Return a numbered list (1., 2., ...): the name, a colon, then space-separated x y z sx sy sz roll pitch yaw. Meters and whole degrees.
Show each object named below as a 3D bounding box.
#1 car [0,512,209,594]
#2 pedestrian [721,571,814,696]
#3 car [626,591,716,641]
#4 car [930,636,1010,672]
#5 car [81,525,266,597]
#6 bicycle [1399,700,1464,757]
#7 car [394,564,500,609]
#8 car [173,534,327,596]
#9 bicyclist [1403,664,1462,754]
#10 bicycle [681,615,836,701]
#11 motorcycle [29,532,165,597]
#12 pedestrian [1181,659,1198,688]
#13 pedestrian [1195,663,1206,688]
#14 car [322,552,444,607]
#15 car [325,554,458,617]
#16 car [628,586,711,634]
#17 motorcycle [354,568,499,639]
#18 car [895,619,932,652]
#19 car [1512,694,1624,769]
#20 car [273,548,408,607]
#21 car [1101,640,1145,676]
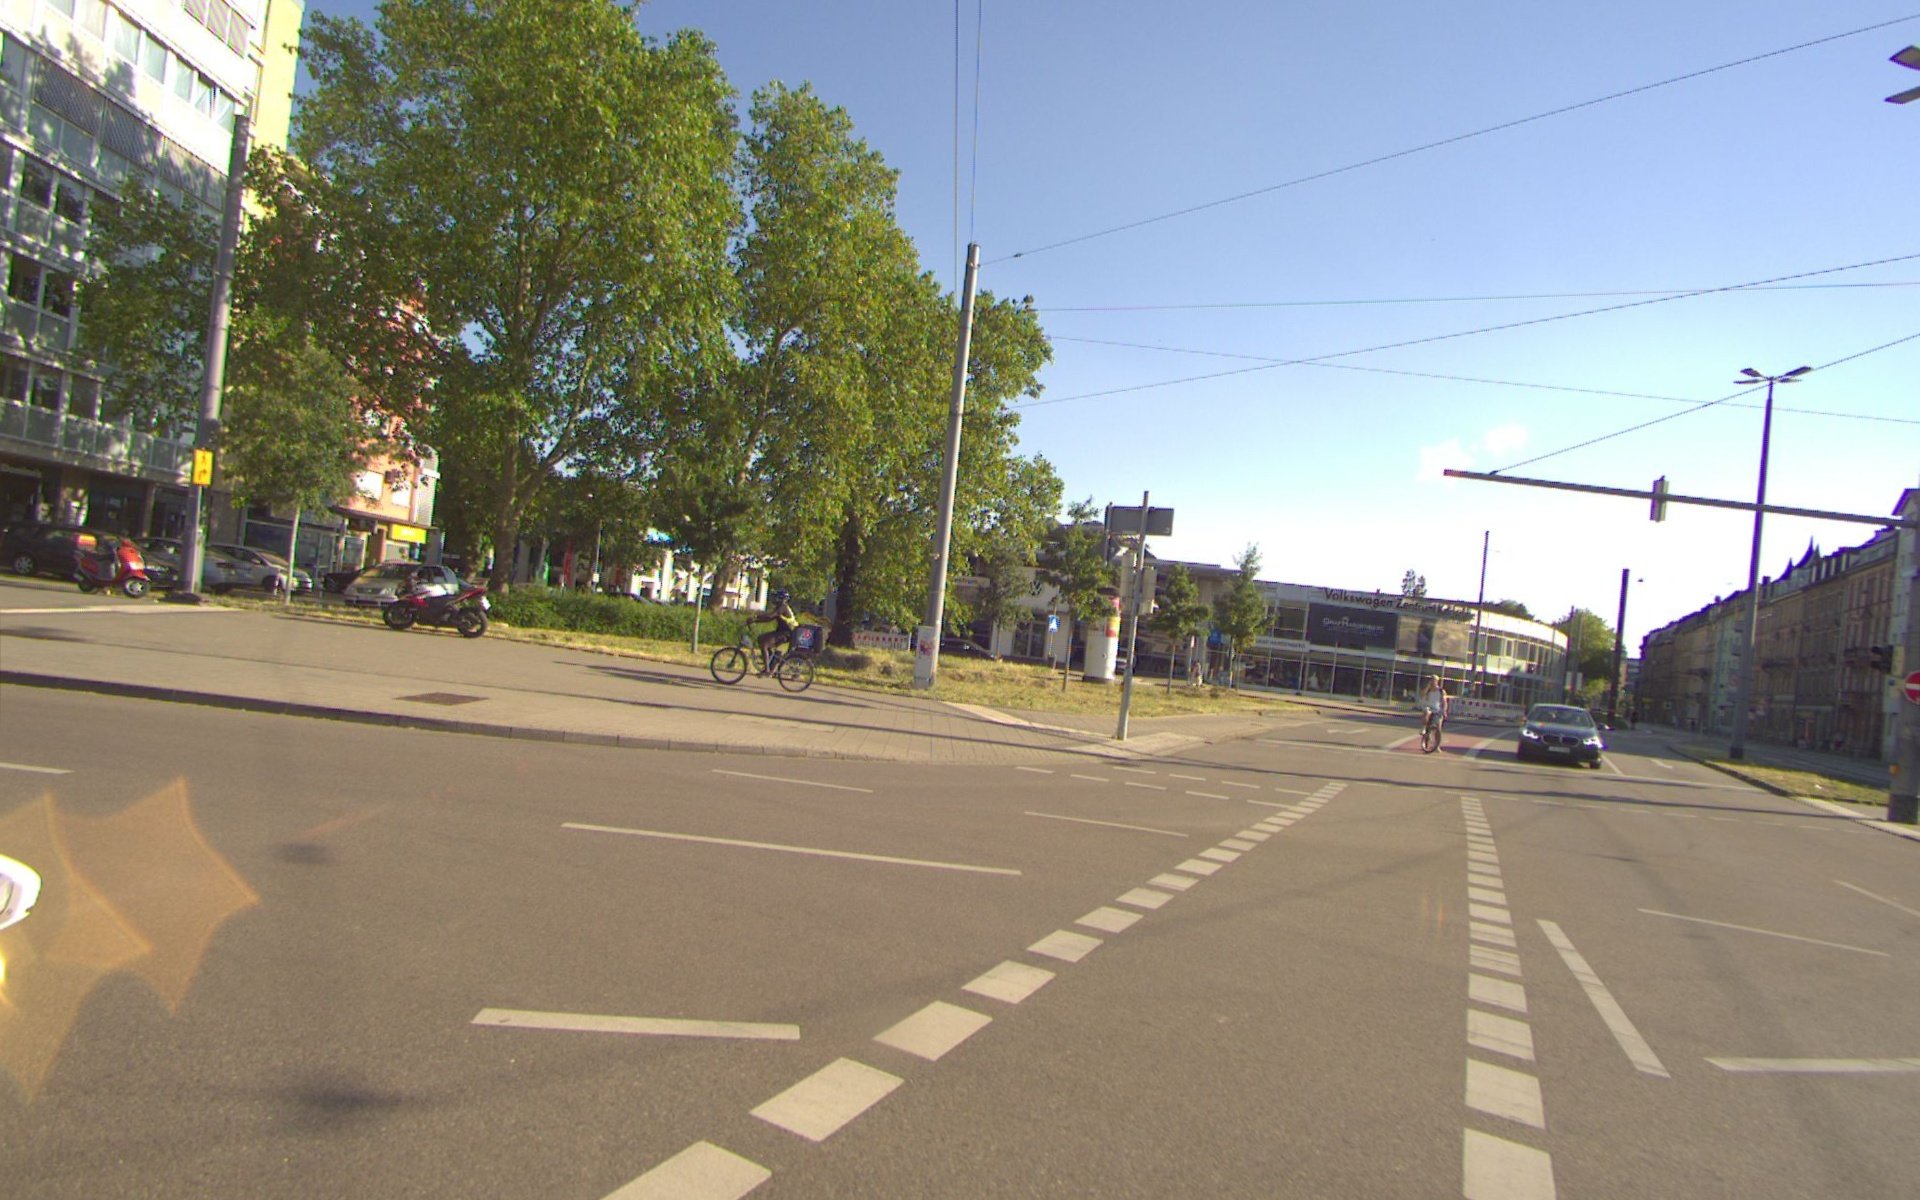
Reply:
1. car: -23.461 -1.250 27.512 4.155 1.500 1.855 9 0 -6
2. pedestrian: -3.470 0.601 18.278 1.248 2.037 1.034 9 0 -3
3. car: -14.722 0.815 51.397 3.930 1.890 1.855 9 0 -4
4. car: 0.584 3.120 57.889 4.090 1.352 1.755 9 0 19
5. car: -23.554 -1.127 30.245 3.929 1.437 1.856 9 0 -2
6. bicycle: 11.520 3.115 24.670 1.015 1.136 2.533 5 -2 17
7. car: -24.226 -0.631 47.597 3.929 1.437 1.856 9 0 -2
8. car: -24.858 -1.199 35.333 3.929 1.437 1.856 9 0 -2
9. bicyclist: 11.522 2.632 24.557 1.015 2.038 1.145 5 -1 18
10. bicycle: -3.614 1.031 18.275 2.486 1.136 1.034 9 0 -3
11. motorcycle: -16.780 -0.677 19.609 1.771 1.059 0.880 5 0 -5
12. pedestrian: 12.636 4.039 55.407 0.710 1.533 0.832 6 -1 6
13. pedestrian: 13.219 4.135 55.354 0.404 1.331 0.573 6 -1 6
14. car: -24.509 -0.832 42.827 3.929 1.654 1.856 9 0 -2
15. car: -17.642 -0.406 31.459 1.886 1.719 3.999 4 0 -2
16. car: -16.310 0.567 56.630 3.930 2.023 1.855 9 0 -4
17. motorcycle: -10.370 0.068 19.656 2.248 1.087 1.036 7 0 -18
18. car: -3.247 2.442 69.787 1.772 1.530 3.985 9 3 -12
19. car: 15.391 3.269 25.683 1.965 1.470 3.998 6 -2 26
20. car: -24.293 -0.847 39.568 3.929 1.654 1.856 9 0 -2
21. car: 10.707 3.812 65.906 1.963 2.037 4.003 9 -1 18
